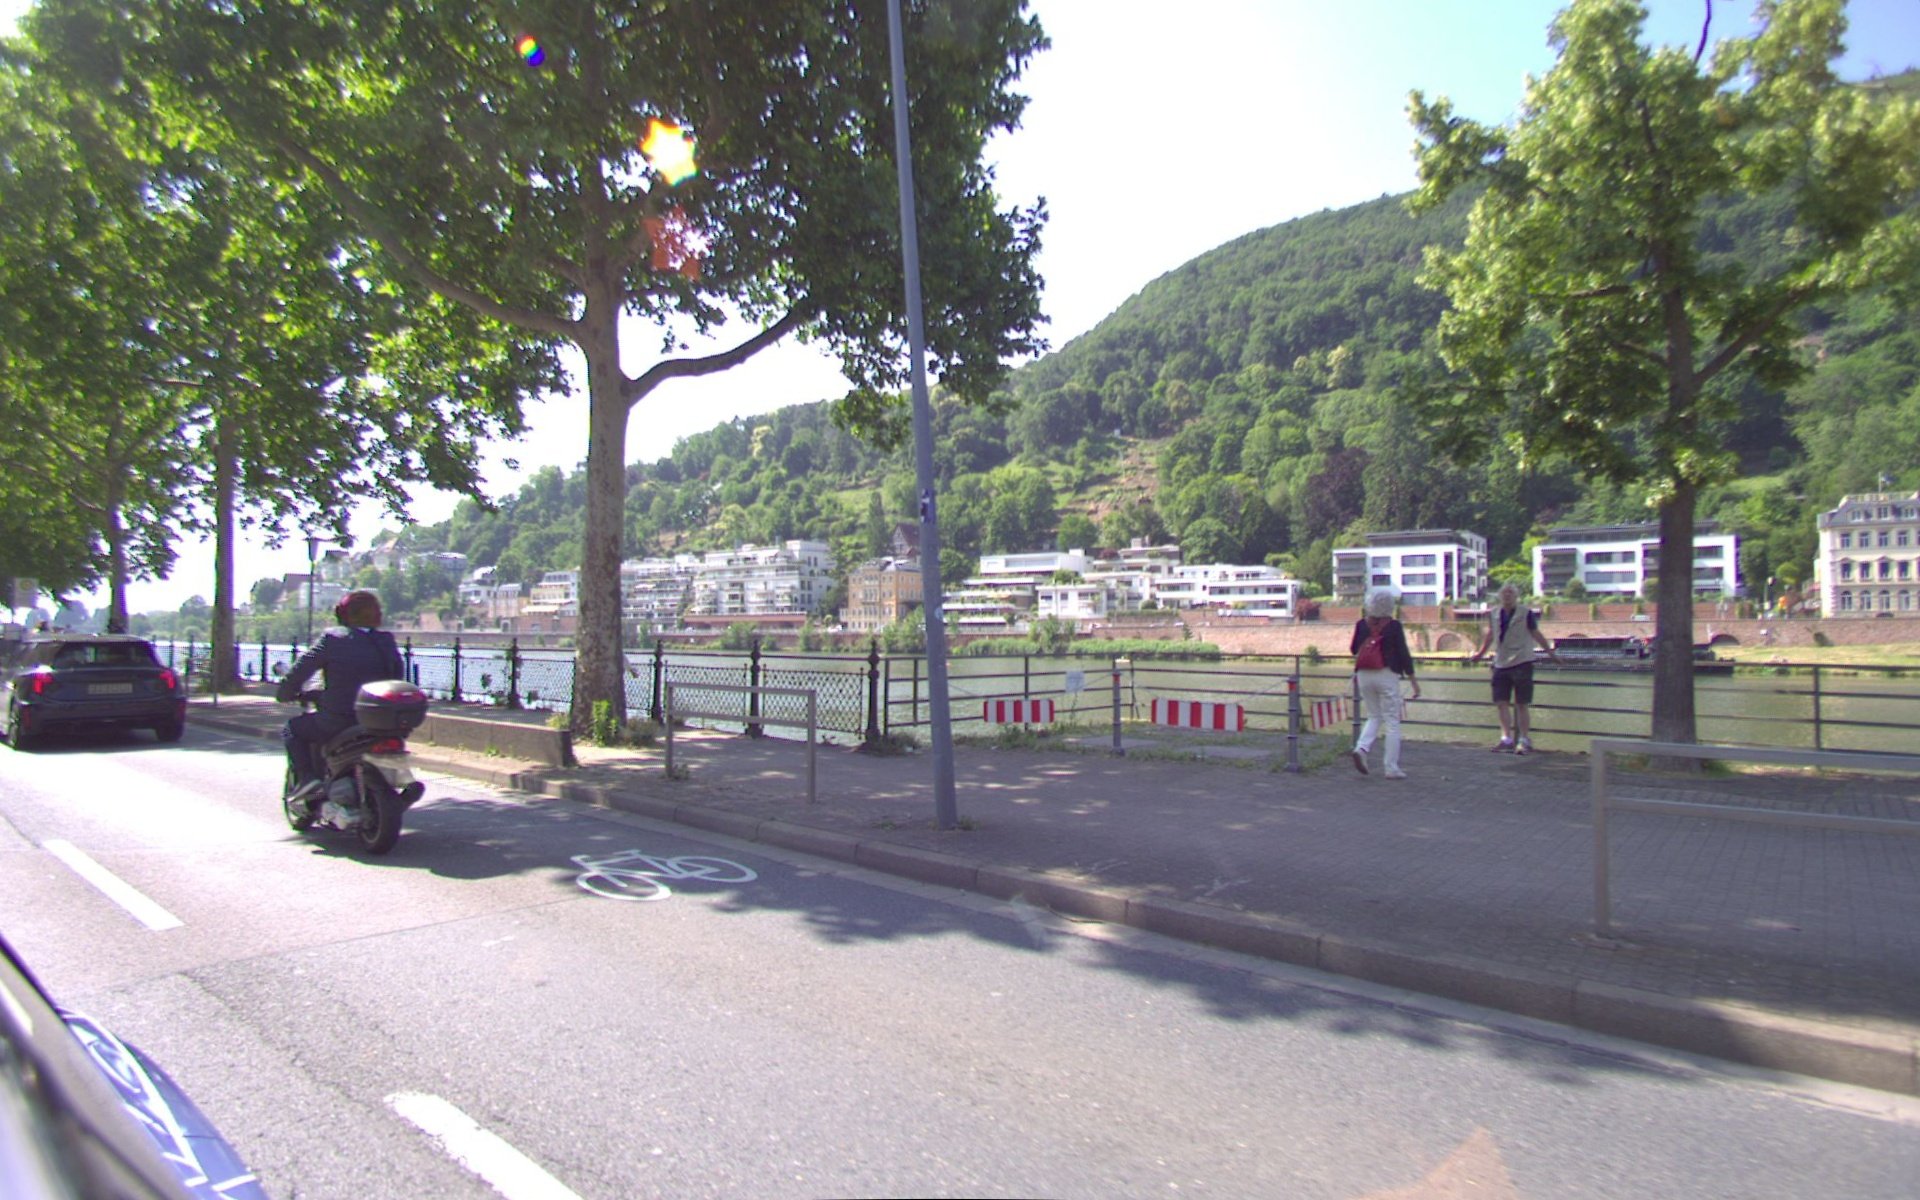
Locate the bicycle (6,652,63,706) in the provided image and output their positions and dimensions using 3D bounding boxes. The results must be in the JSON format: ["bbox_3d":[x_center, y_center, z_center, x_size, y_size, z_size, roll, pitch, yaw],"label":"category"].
[{"bbox_3d":[-19.499,1.641,21.311,1.953,1.085,0.732,-3,-3,44],"label":"bicycle"}]

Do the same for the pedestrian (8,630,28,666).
[{"bbox_3d":[-42.964,2.170,46.162,0.990,1.630,0.488,-2,-4,39],"label":"pedestrian"}]

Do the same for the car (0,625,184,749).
[{"bbox_3d":[-12.344,1.127,13.999,3.999,1.469,1.684,-2,-4,40],"label":"car"}]

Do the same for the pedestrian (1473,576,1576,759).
[{"bbox_3d":[6.341,0.742,11.371,0.886,1.960,0.687,-2,-4,39],"label":"pedestrian"}]

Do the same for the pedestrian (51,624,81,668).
[{"bbox_3d":[-37.041,1.906,41.914,0.971,1.777,0.704,-2,-4,39],"label":"pedestrian"}]

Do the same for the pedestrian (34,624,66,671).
[{"bbox_3d":[-34.134,1.789,37.962,0.792,1.727,0.647,-2,-5,37],"label":"pedestrian"}]

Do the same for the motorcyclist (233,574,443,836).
[{"bbox_3d":[-4.218,0.669,6.869,1.024,1.595,0.870,-2,-4,39],"label":"motorcyclist"}]

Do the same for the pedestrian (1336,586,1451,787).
[{"bbox_3d":[3.878,0.735,9.061,0.747,1.695,0.659,0,-1,-42],"label":"pedestrian"}]

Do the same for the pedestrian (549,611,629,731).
[{"bbox_3d":[-5.119,0.965,13.981,0.695,1.598,0.754,-2,-4,39],"label":"pedestrian"}]

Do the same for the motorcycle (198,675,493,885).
[{"bbox_3d":[-4.193,1.109,6.832,2.323,1.085,0.875,-1,-2,36],"label":"motorcycle"}]

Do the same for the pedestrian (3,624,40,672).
[{"bbox_3d":[-34.533,1.777,37.251,0.782,1.727,0.827,-2,-4,39],"label":"pedestrian"}]

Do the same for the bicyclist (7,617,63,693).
[{"bbox_3d":[-19.524,1.167,21.359,1.024,1.543,0.758,-5,-4,41],"label":"bicyclist"}]

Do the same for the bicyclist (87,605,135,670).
[{"bbox_3d":[-21.395,0.945,25.504,1.089,1.595,0.712,-2,-4,42],"label":"bicyclist"}]
